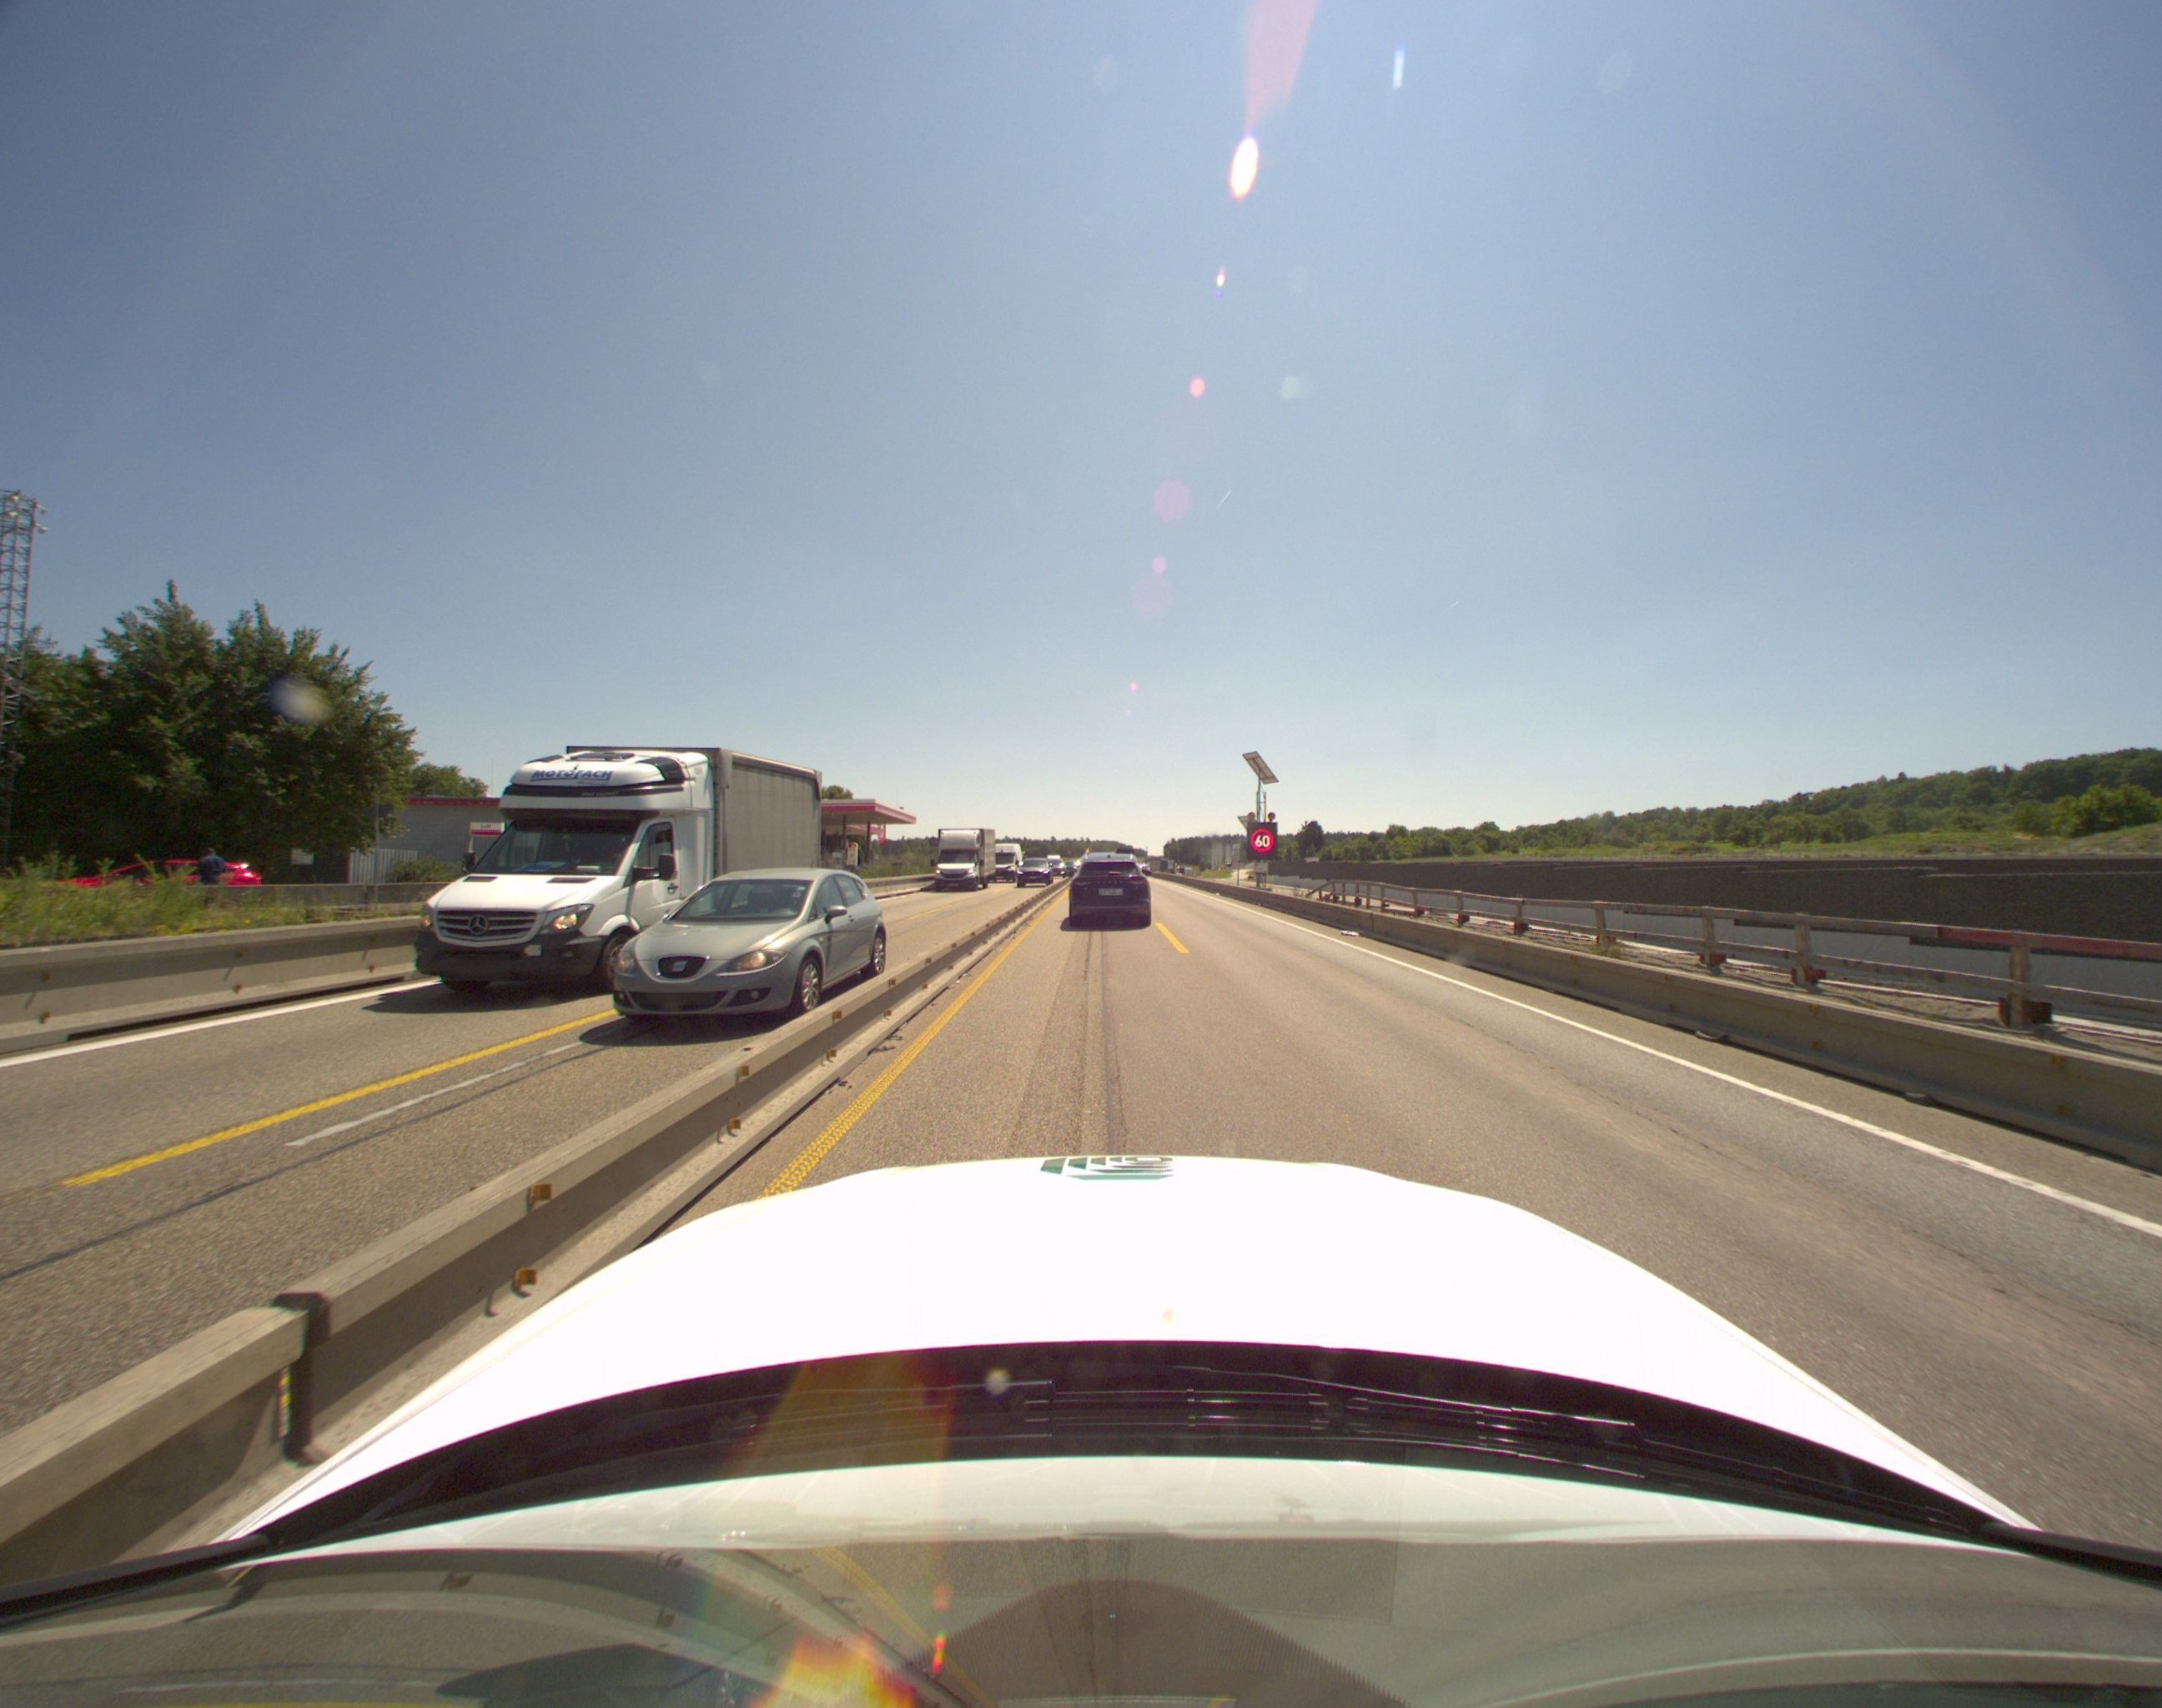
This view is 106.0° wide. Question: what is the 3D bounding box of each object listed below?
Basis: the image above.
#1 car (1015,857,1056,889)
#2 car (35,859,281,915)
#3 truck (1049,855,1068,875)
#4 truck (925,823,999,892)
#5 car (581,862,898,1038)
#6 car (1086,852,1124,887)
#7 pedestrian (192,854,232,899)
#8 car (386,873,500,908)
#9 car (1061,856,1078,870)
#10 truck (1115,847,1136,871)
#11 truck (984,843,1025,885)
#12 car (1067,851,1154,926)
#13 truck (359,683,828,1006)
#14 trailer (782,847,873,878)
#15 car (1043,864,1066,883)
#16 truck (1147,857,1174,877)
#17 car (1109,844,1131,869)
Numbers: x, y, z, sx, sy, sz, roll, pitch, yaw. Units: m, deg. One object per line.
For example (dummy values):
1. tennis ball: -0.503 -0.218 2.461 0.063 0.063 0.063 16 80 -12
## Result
1. car: -2.560 1.046 46.834 1.935 1.658 4.746 -1 0 1
2. car: -25.084 0.873 22.317 1.484 1.332 4.211 3 0 31
3. truck: -3.332 1.605 121.587 2.471 2.824 8.131 0 0 2
4. truck: -6.053 0.171 42.624 2.486 3.292 8.118 0 0 1
5. car: -3.372 0.834 9.026 1.676 1.429 4.202 -1 0 1
6. car: 1.302 0.849 46.061 1.987 1.844 3.999 1 -1 0
7. pedestrian: -23.610 0.601 22.126 0.470 1.204 0.588 0 0 16
8. car: -29.456 1.639 37.802 1.744 1.411 4.319 0 0 3
9. car: -1.303 1.046 94.318 1.838 1.641 4.001 0 0 2
10. truck: 5.835 0.641 106.664 2.662 2.945 5.623 0 0 2
11. truck: -5.352 0.660 57.803 2.232 2.786 6.491 0 0 0
12. car: 0.698 0.736 19.251 1.835 1.582 4.002 0 0 2
13. truck: -6.324 -0.099 12.426 2.381 3.384 7.715 0 0 1
14. trailer: -35.769 1.283 116.055 3.120 4.111 14.249 -1 -1 28
15. car: -2.258 1.643 70.029 1.933 1.611 3.997 0 0 -2
16. truck: 19.449 3.236 198.246 3.447 4.220 10.427 5 -1 21
17. car: 7.156 0.468 146.630 3.421 4.101 9.207 4 -1 4
